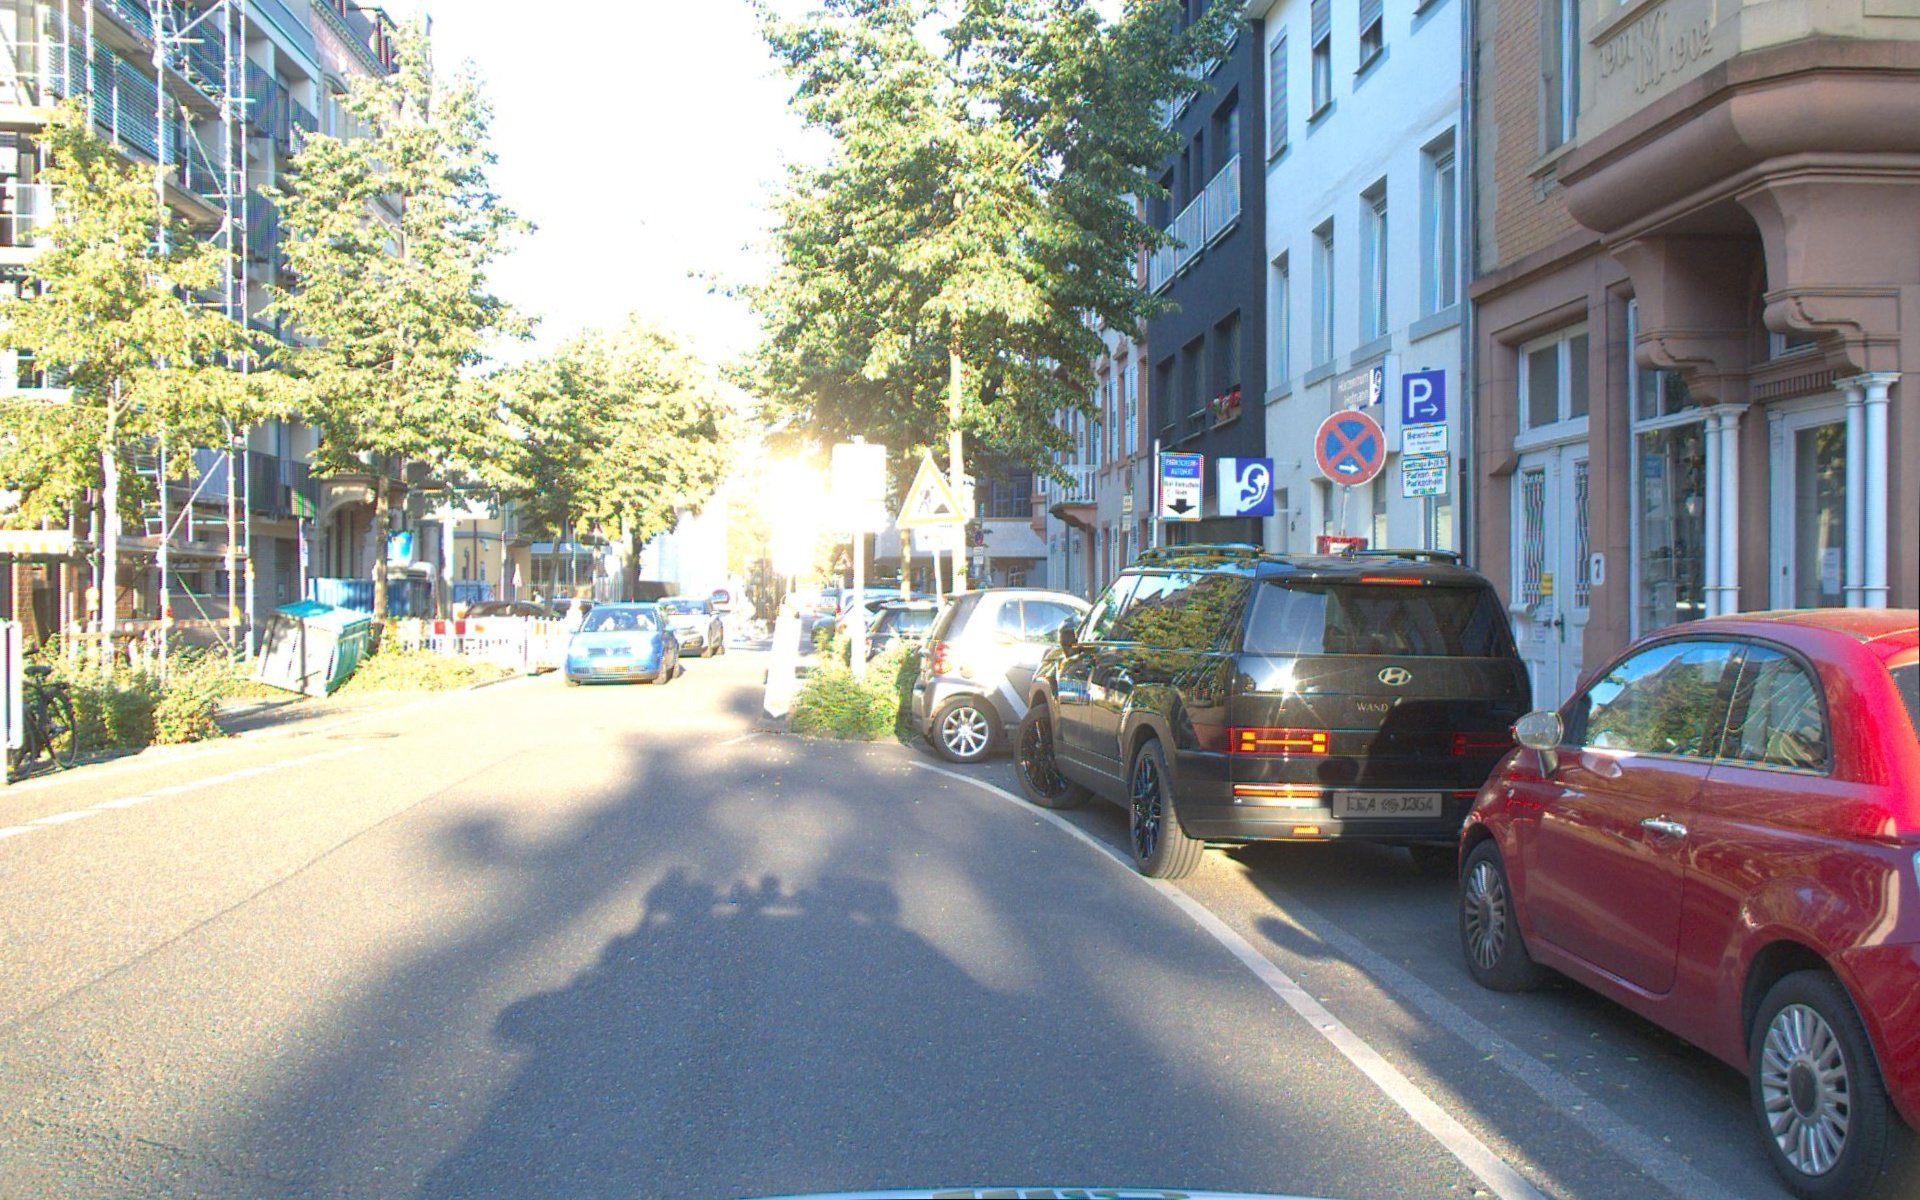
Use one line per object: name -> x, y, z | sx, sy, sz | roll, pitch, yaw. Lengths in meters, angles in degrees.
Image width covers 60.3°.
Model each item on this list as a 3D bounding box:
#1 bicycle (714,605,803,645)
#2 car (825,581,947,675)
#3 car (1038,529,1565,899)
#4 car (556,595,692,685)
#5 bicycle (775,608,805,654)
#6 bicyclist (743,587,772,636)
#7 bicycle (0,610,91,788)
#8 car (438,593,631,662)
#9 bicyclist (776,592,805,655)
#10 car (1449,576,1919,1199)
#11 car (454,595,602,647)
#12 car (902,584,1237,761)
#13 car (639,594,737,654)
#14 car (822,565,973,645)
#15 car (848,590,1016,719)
bicycle -> -7.268, 0.886, 59.667 | 3.119, 1.374, 0.845 | -1, 0, -11
car -> -1.740, 0.603, 37.274 | 2.223, 1.796, 4.501 | 6, -1, -8
car -> 1.747, 0.552, 10.024 | 1.790, 1.725, 4.361 | 1, 0, -7
car -> -5.962, 0.666, 29.788 | 1.802, 1.466, 4.328 | -1, 0, -4
bicycle -> -4.733, 0.853, 46.015 | 0.766, 1.225, 2.018 | -1, 0, -7
bicyclist -> -7.304, 0.419, 59.638 | 0.985, 1.726, 0.781 | -1, 0, -10
bicycle -> -8.029, 0.777, 13.521 | 0.830, 1.374, 3.176 | -1, 0, -13
car -> -9.834, 0.630, 38.490 | 4.021, 1.491, 1.888 | 1, 0, -3
bicyclist -> -4.735, 0.639, 46.078 | 0.766, 1.726, 1.006 | -1, 0, -7
car -> 2.905, 0.717, 5.338 | 1.555, 1.509, 3.264 | 1, 0, -3
car -> -13.093, 0.631, 50.338 | 4.021, 1.491, 1.888 | 1, 0, -3
car -> 0.989, 0.669, 15.631 | 2.913, 1.563, 1.430 | 1, 0, -9
car -> -7.195, 0.615, 44.156 | 1.846, 1.506, 4.459 | 1, 0, 0
car -> -1.625, 0.115, 43.825 | 3.905, 2.049, 2.000 | 0, 0, -1
car -> -0.512, 0.735, 24.252 | 1.956, 1.697, 4.502 | 1, 0, -7
